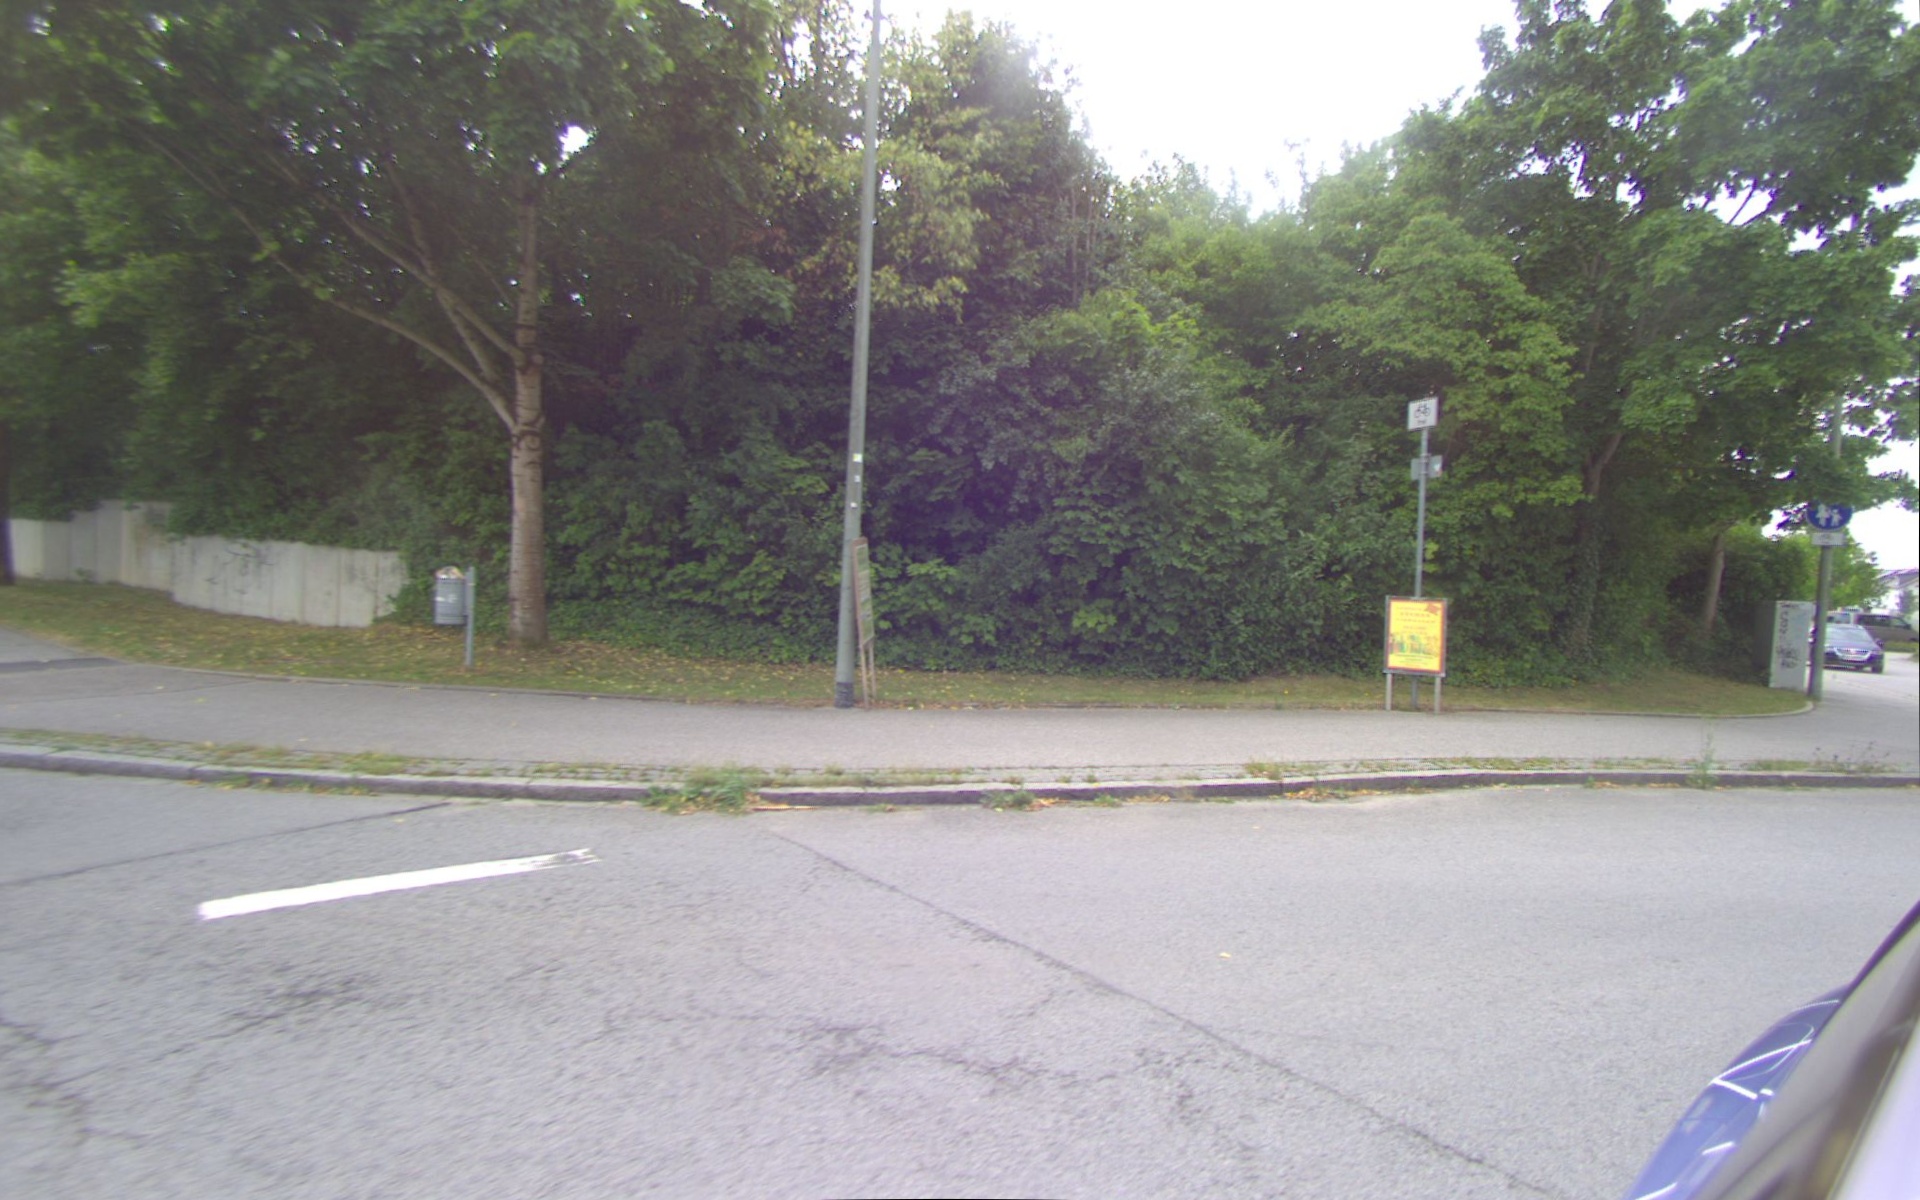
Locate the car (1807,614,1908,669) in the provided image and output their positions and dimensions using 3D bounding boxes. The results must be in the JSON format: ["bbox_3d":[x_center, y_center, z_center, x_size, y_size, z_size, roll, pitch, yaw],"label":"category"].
[{"bbox_3d":[29.393,1.313,33.267,1.789,1.481,3.953,5,3,32],"label":"car"}]

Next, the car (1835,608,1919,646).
[{"bbox_3d":[49.630,1.447,54.314,3.921,1.754,1.656,3,1,-4],"label":"car"}]
